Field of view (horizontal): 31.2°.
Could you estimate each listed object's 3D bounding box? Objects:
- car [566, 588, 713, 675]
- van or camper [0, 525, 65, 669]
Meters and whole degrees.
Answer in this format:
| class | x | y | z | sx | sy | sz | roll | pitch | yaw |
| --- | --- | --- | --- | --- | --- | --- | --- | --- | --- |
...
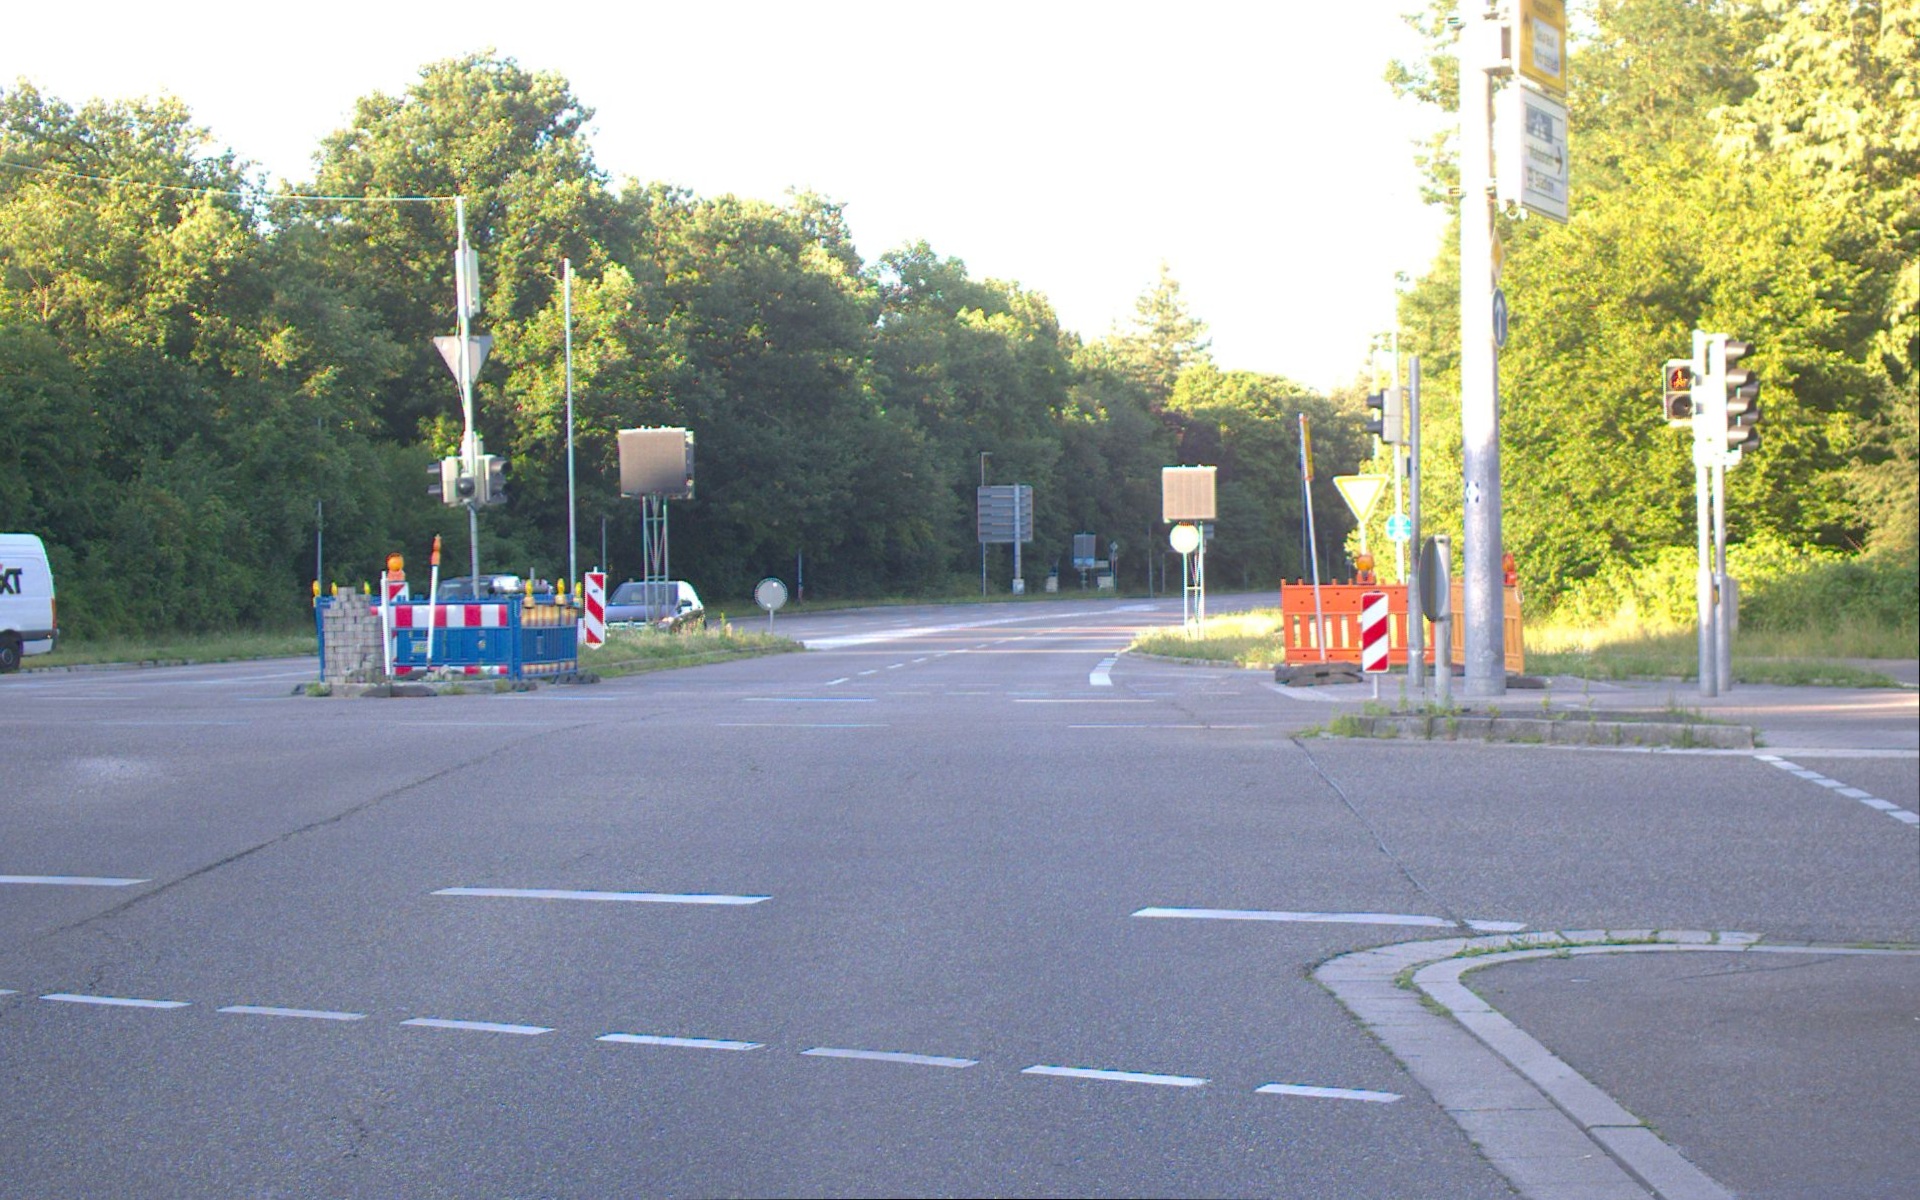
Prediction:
| class | x | y | z | sx | sy | sz | roll | pitch | yaw |
| --- | --- | --- | --- | --- | --- | --- | --- | --- | --- |
| car | -6.830 | 0.651 | 73.670 | 1.994 | 1.634 | 3.998 | -2 | 2 | 12 |
| van or camper | -19.491 | -0.023 | 61.868 | 2.888 | 2.643 | 7.114 | 0 | 1 | 21 |
